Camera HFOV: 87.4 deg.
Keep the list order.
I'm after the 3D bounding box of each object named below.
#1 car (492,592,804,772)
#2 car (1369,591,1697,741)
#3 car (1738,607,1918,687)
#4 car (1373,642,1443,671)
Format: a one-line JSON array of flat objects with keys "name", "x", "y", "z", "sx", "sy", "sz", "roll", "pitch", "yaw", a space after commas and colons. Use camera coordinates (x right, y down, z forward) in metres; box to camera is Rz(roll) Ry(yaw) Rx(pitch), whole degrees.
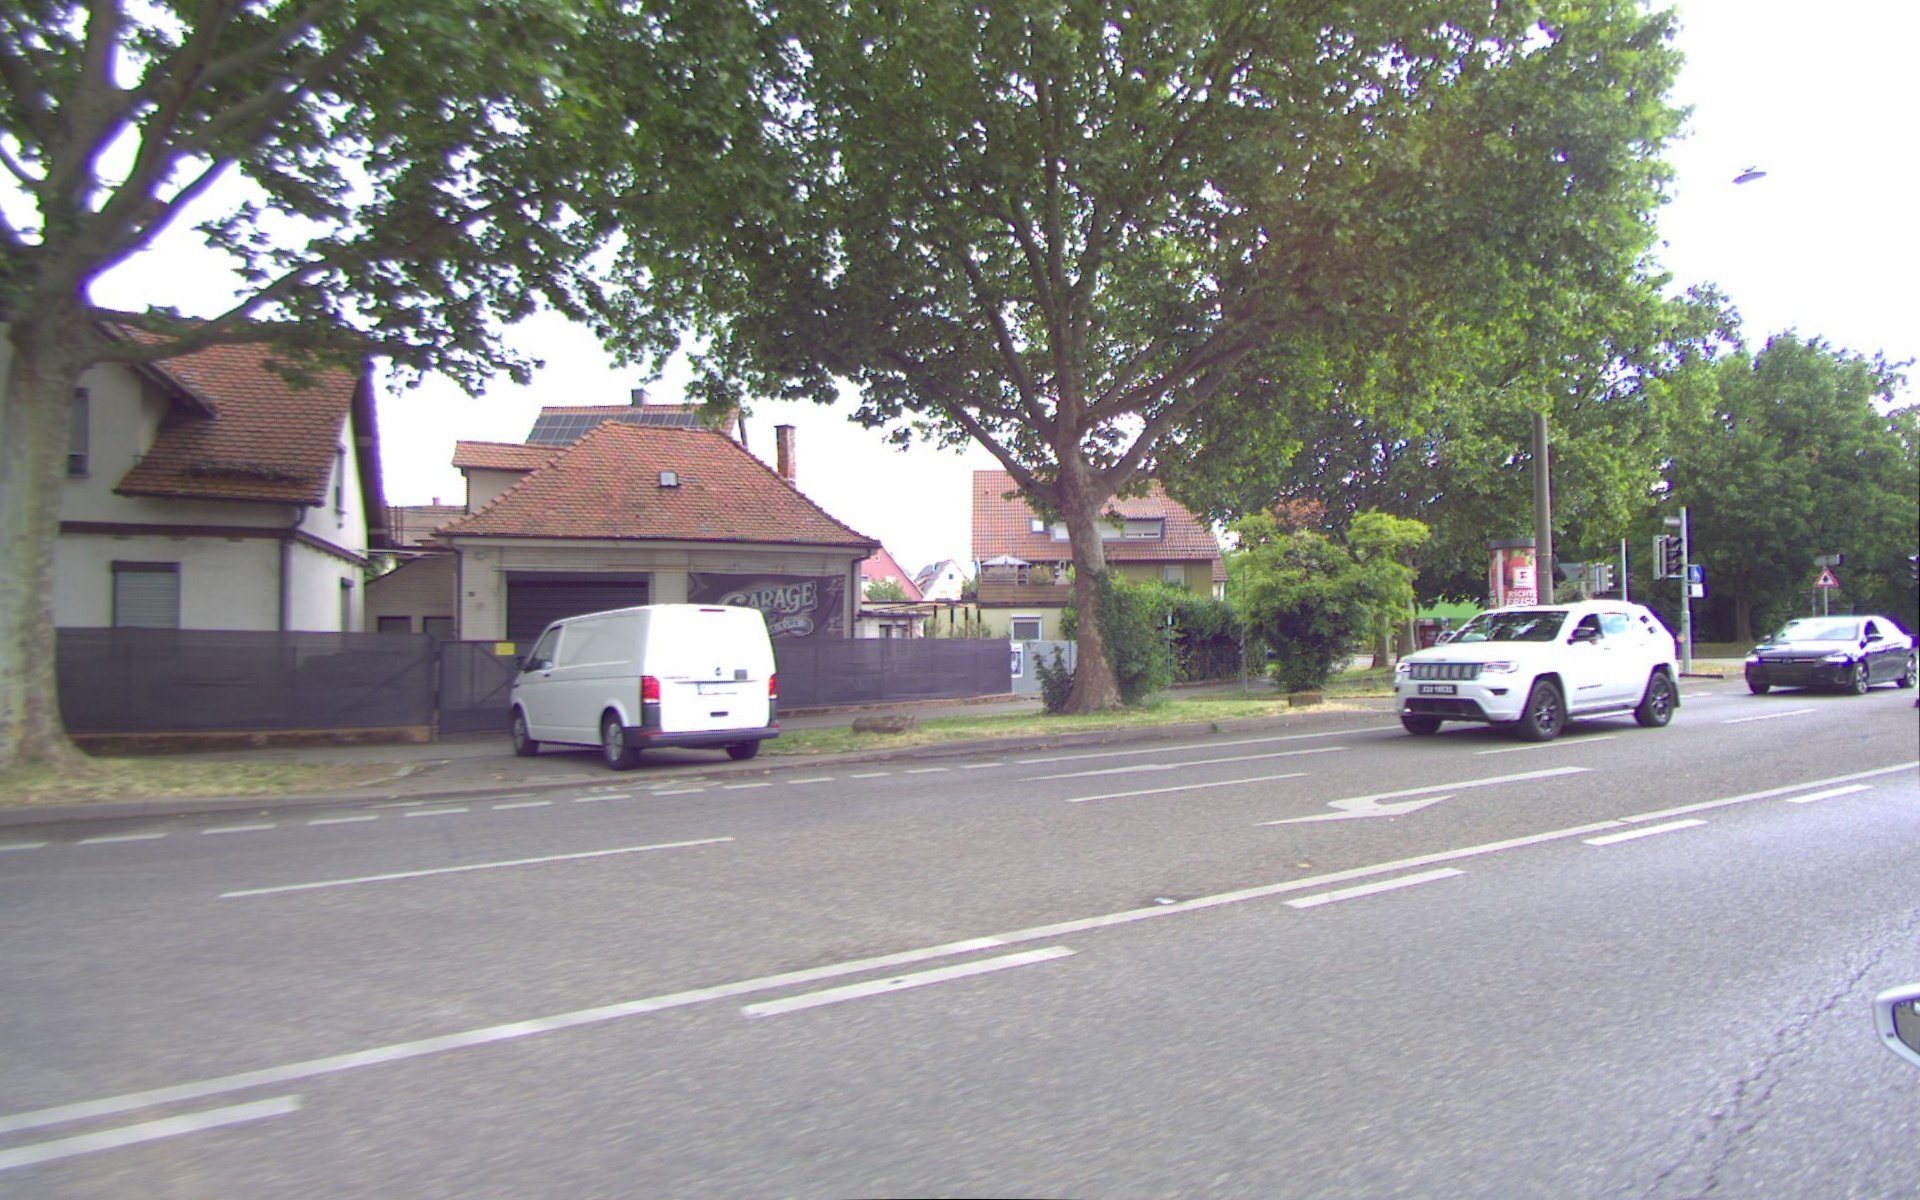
[{"name": "car", "x": -4.411, "y": 1.085, "z": 13.571, "sx": 2.069, "sy": 1.956, "sz": 5.181, "roll": 2, "pitch": -5, "yaw": -42}, {"name": "car", "x": 8.076, "y": 0.854, "z": 14.050, "sx": 4.698, "sy": 1.786, "sz": 1.902, "roll": 0, "pitch": -3, "yaw": -31}, {"name": "car", "x": 17.070, "y": 0.893, "z": 19.721, "sx": 3.905, "sy": 1.400, "sz": 1.561, "roll": -1, "pitch": -3, "yaw": -32}, {"name": "car", "x": 26.080, "y": 3.286, "z": 58.607, "sx": 1.961, "sy": 1.566, "sz": 4.269, "roll": 0, "pitch": -2, "yaw": -3}]
